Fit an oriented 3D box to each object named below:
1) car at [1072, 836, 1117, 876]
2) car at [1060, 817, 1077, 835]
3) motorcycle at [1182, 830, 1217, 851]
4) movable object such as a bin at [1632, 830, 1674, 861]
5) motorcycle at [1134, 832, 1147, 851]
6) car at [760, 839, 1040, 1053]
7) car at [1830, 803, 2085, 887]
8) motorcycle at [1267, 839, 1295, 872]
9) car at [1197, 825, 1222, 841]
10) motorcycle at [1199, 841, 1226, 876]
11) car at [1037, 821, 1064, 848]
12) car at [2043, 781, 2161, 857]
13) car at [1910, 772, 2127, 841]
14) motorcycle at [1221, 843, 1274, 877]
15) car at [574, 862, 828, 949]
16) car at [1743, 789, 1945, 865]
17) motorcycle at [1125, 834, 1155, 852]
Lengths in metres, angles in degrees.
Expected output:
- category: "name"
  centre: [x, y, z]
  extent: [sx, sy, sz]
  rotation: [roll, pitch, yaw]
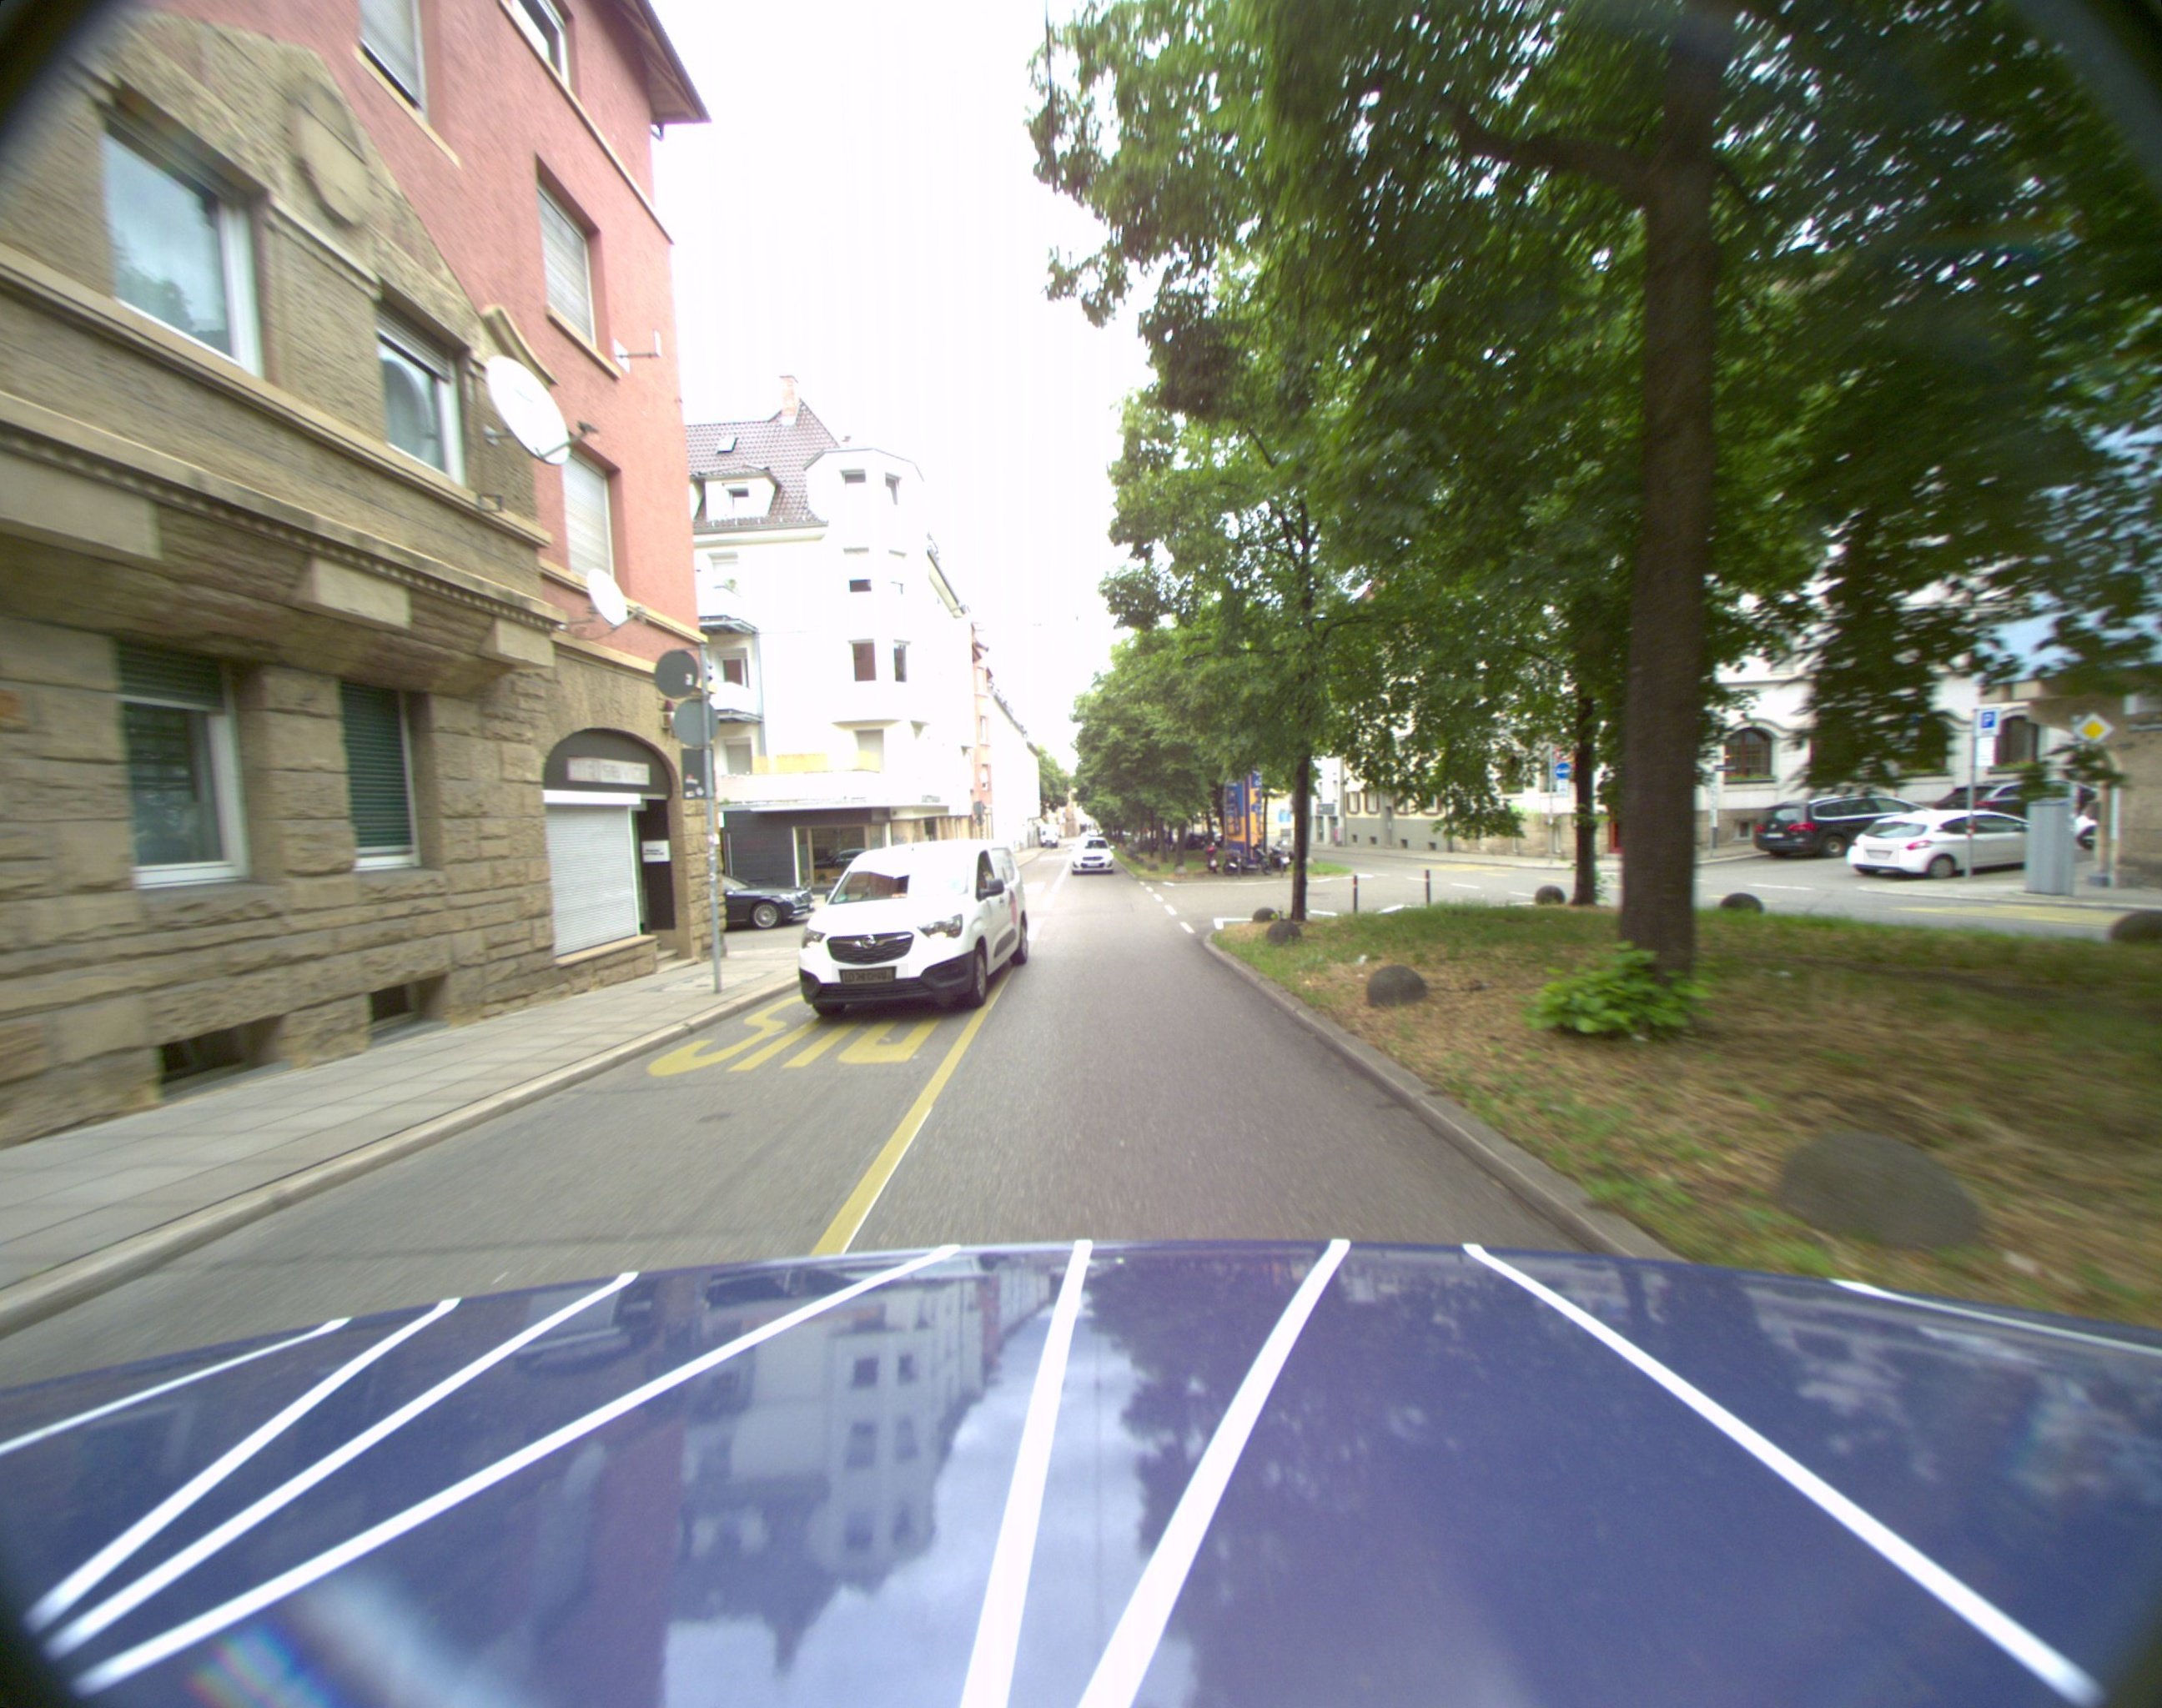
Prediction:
- category: "car"
  centre: [0.616, 0.014, 33.916]
  extent: [1.854, 1.595, 4.562]
  rotation: [-2, 2, 2]
- category: "car"
  centre: [-2.231, -5.121, 138.125]
  extent: [3.026, 3.045, 7.164]
  rotation: [-2, 3, -1]
- category: "motorcycle"
  centre: [8.784, -1.015, 56.352]
  extent: [2.424, 1.475, 0.963]
  rotation: [-1, 4, 1]
- category: "movable object such as a bin"
  centre: [19.335, -0.294, 25.687]
  extent: [0.888, 0.988, 0.668]
  rotation: [-5, 2, -1]
- category: "motorcycle"
  centre: [4.334, -0.895, 55.681]
  extent: [0.454, 1.299, 1.626]
  rotation: [-4, 4, -10]
- category: "car"
  centre: [-1.825, 0.824, 9.560]
  extent: [1.853, 1.815, 5.020]
  rotation: [-3, 2, 5]
- category: "car"
  centre: [20.794, -0.258, 18.149]
  extent: [4.007, 1.462, 1.870]
  rotation: [-7, 4, -2]
- category: "motorcycle"
  centre: [7.630, 0.041, 29.059]
  extent: [0.750, 1.068, 1.851]
  rotation: [-2, 4, 8]
- category: "car"
  centre: [12.655, -2.072, 75.019]
  extent: [1.818, 1.554, 4.253]
  rotation: [-2, 1, 1]
- category: "motorcycle"
  centre: [4.995, 0.140, 28.958]
  extent: [0.888, 1.090, 2.481]
  rotation: [-2, 4, 8]
- category: "car"
  centre: [-3.656, -2.488, 92.949]
  extent: [3.026, 3.045, 7.164]
  rotation: [-2, 3, -1]
- category: "car"
  centre: [26.207, -0.955, 18.020]
  extent: [4.150, 1.461, 1.966]
  rotation: [-7, 2, 1]
- category: "car"
  centre: [27.953, -1.391, 22.771]
  extent: [3.996, 1.502, 1.800]
  rotation: [-7, 2, 4]
- category: "motorcycle"
  centre: [5.961, 0.215, 27.246]
  extent: [1.735, 1.090, 0.550]
  rotation: [-3, 4, 4]
- category: "car"
  centre: [-9.375, 1.229, 19.177]
  extent: [5.141, 1.541, 2.237]
  rotation: [-5, 2, -4]
- category: "car"
  centre: [22.665, -0.808, 22.698]
  extent: [4.007, 1.690, 1.871]
  rotation: [-7, 2, 1]
- category: "motorcycle"
  centre: [4.123, -0.788, 53.189]
  extent: [2.041, 1.126, 0.453]
  rotation: [-3, 4, 1]
